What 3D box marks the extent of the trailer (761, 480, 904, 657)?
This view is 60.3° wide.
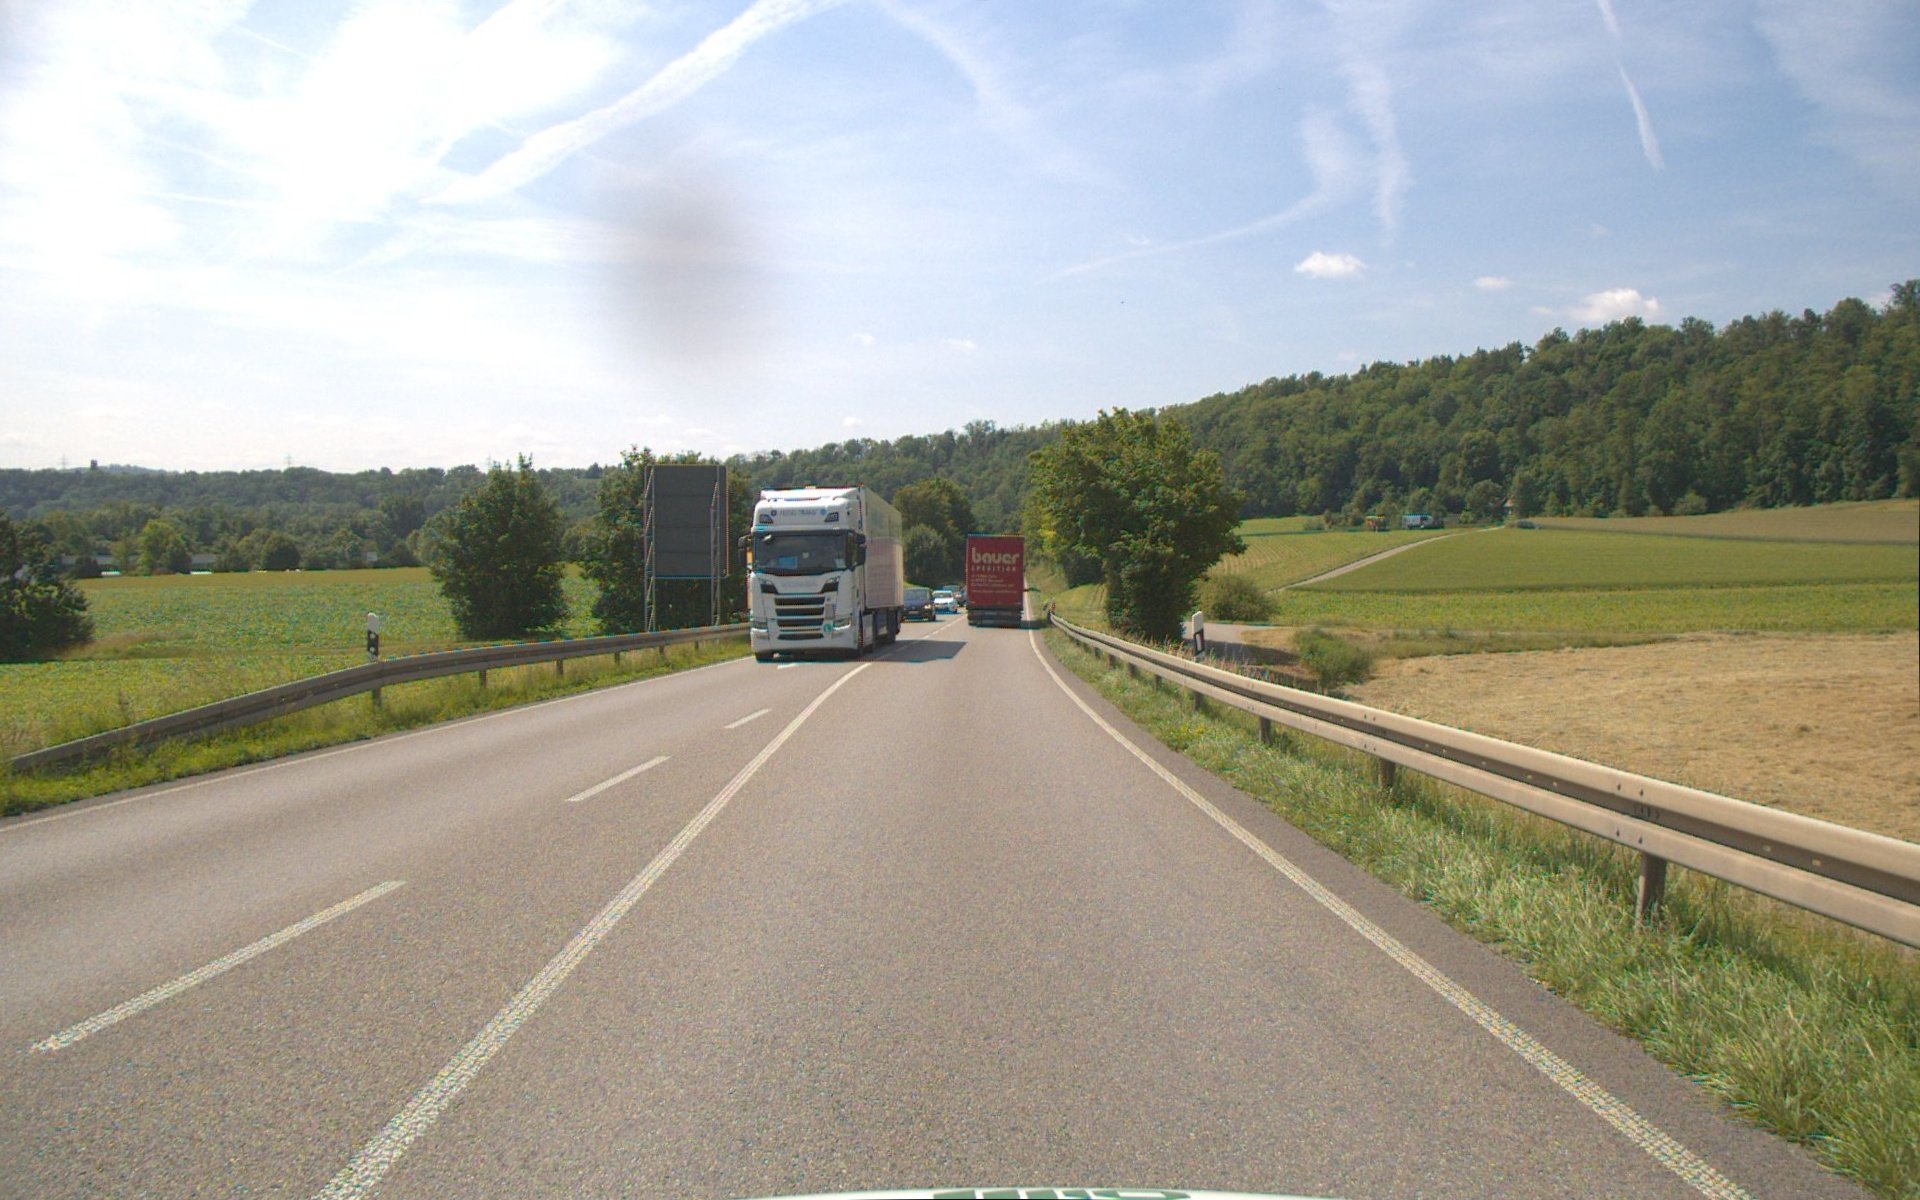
[{"bbox_3d":[-3.284,-0.777,46.634,2.455,4.192,13.901,-1,0,2],"label":"trailer"}]

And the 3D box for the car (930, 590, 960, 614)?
[{"bbox_3d":[-0.936,0.105,105.676,1.695,1.459,3.917,-2,0,2],"label":"car"}]

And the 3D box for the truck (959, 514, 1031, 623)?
[{"bbox_3d":[1.693,-1.450,78.719,3.106,4.706,13.547,1,1,1],"label":"truck"}]

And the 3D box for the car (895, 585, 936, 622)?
[{"bbox_3d":[-2.234,0.148,83.672,1.791,1.752,4.364,-2,0,1],"label":"car"}]

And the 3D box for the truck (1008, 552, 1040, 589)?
[{"bbox_3d":[8.307,-3.767,216.467,3.825,4.445,13.294,3,0,1],"label":"truck"}]

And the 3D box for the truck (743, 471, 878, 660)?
[{"bbox_3d":[-3.509,-0.780,40.194,2.478,4.192,6.022,-1,0,2],"label":"truck"}]

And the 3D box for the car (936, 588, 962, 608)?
[{"bbox_3d":[-0.852,-0.135,129.877,1.873,1.500,3.875,-1,1,2],"label":"car"}]

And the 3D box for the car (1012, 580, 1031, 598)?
[{"bbox_3d":[6.919,-1.261,185.336,1.953,1.841,4.000,3,0,1],"label":"car"}]
